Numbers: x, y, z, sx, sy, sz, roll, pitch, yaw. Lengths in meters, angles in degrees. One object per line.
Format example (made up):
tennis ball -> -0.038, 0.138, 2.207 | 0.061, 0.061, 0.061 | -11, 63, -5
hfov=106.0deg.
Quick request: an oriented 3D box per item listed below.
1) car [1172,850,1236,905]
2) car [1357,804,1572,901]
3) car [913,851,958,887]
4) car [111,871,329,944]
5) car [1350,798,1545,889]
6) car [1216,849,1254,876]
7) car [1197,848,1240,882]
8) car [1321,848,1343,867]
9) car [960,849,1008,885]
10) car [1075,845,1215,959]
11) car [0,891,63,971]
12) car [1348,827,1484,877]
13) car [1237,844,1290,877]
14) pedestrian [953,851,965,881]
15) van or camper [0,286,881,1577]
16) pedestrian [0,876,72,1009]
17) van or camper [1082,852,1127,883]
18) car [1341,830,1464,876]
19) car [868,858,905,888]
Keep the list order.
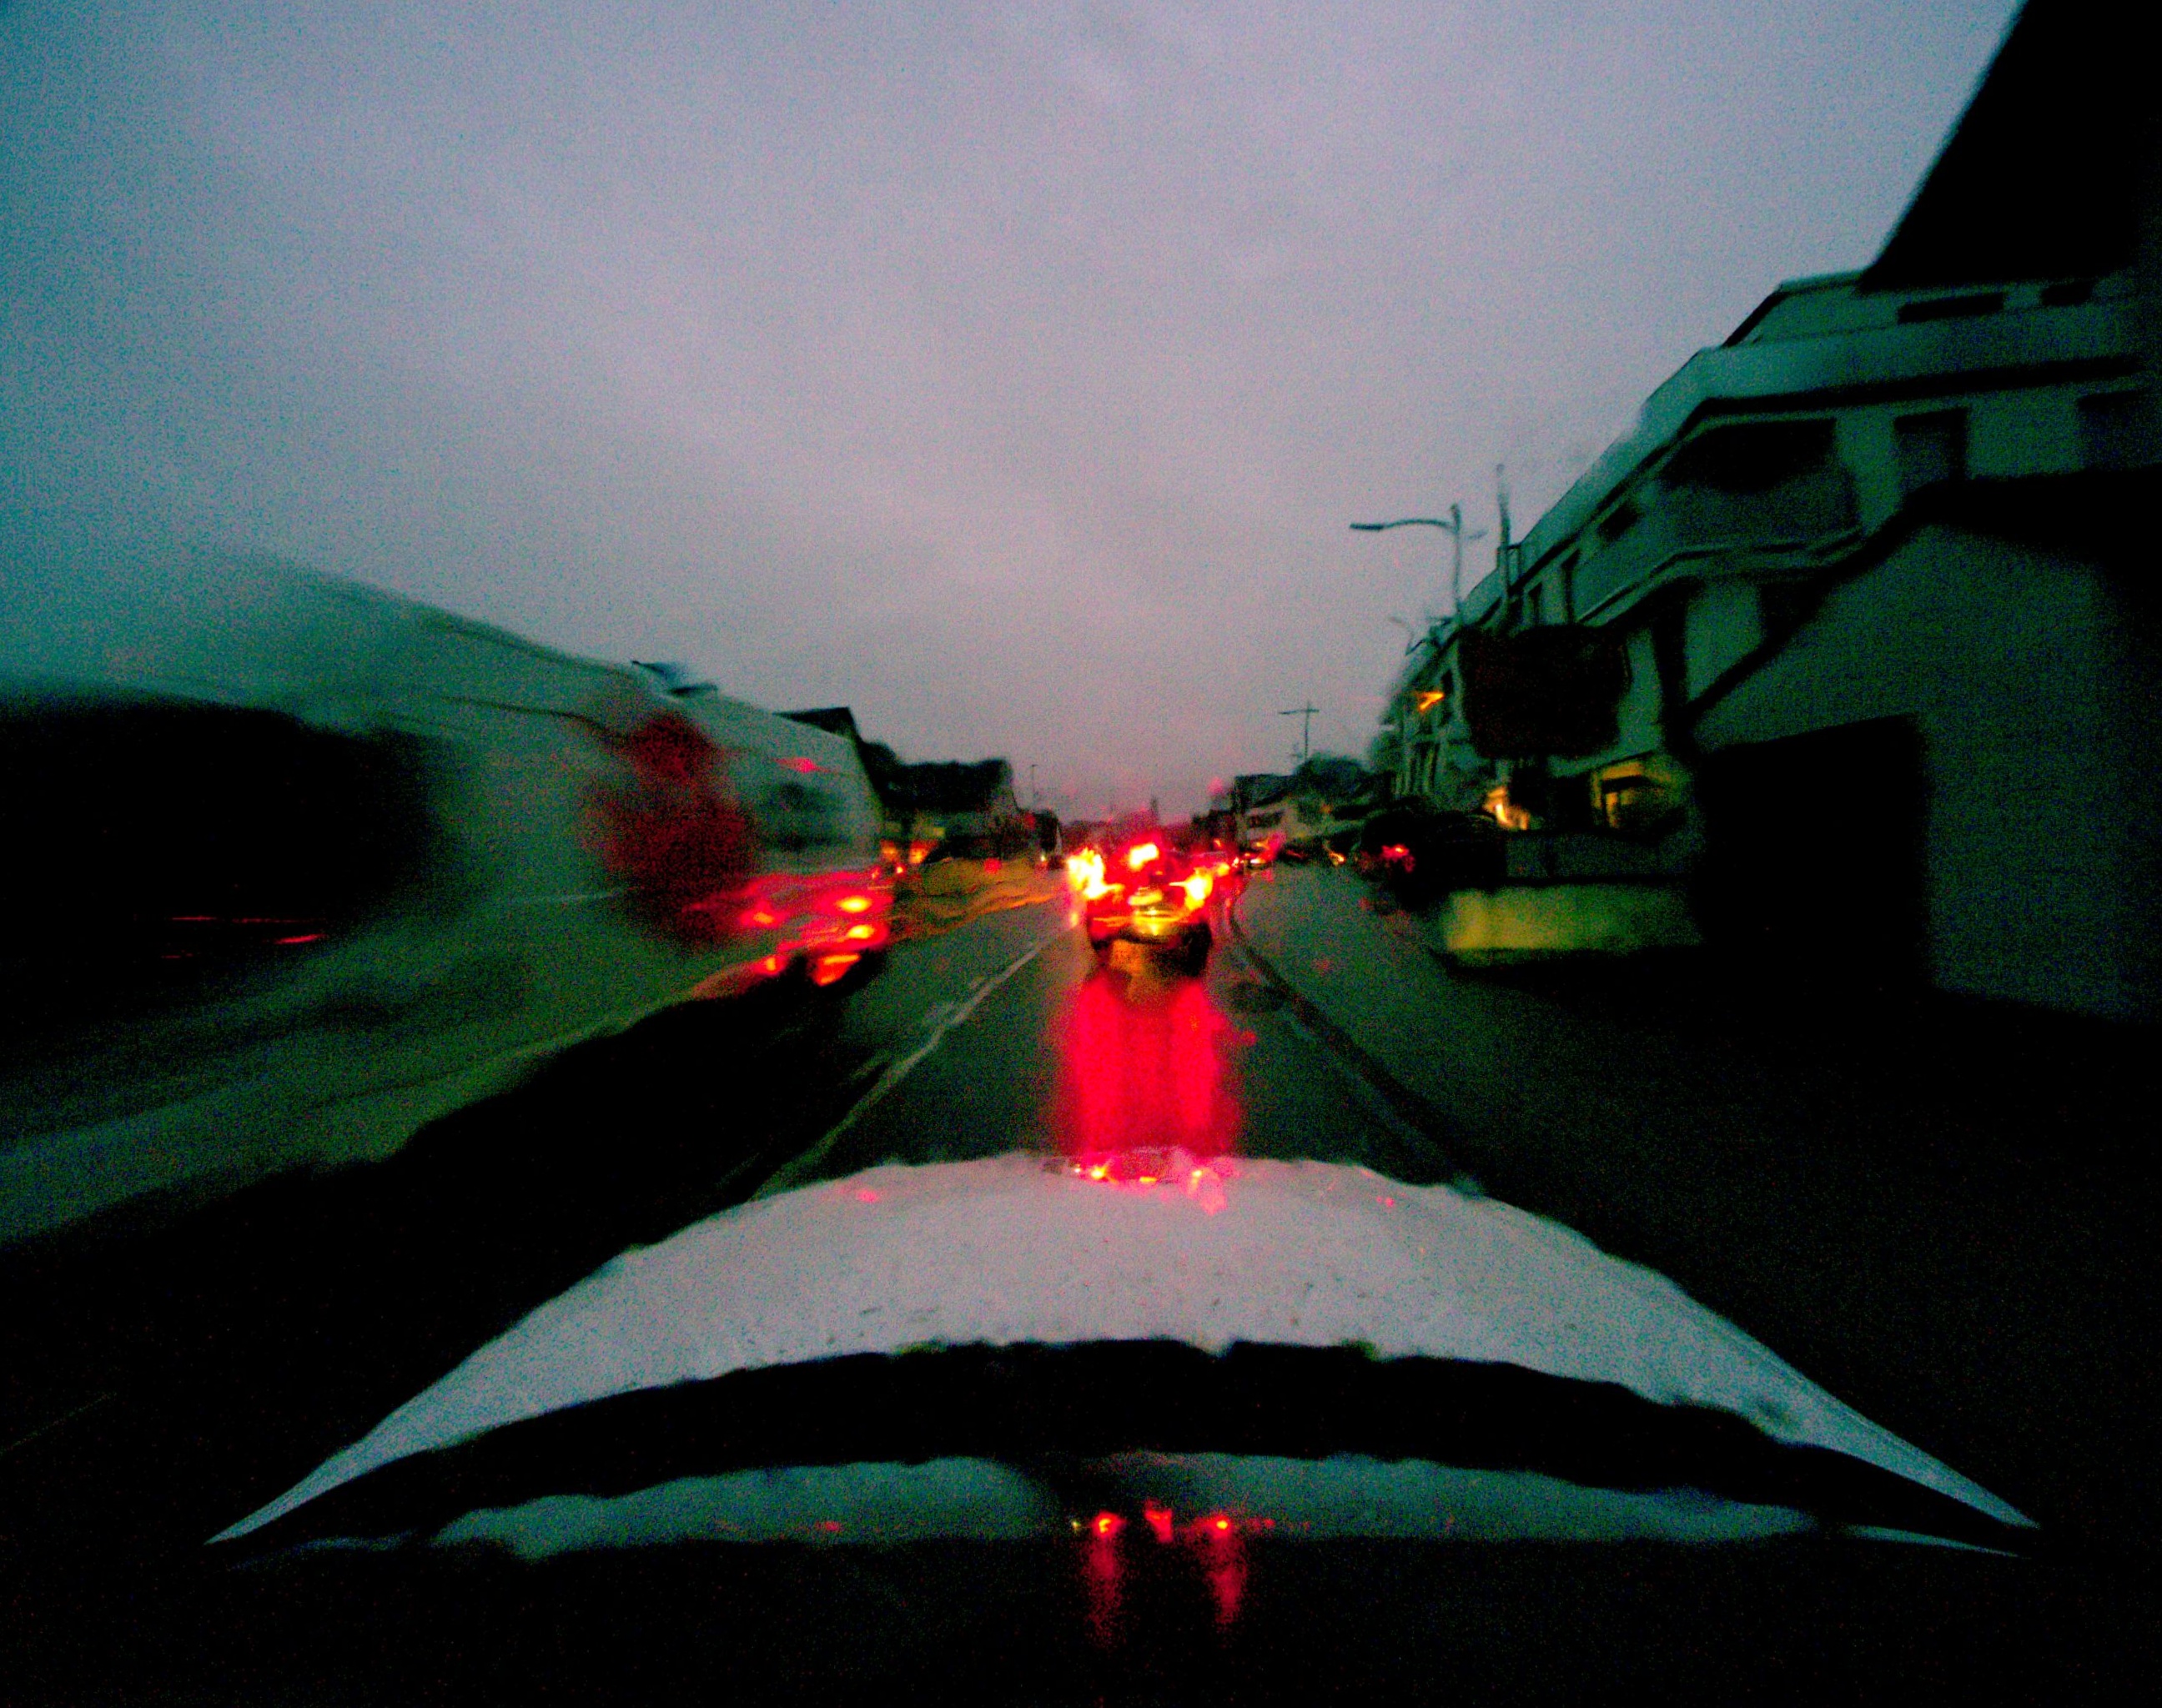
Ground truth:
car -> 3.800, 0.648, 24.717 | 1.672, 1.453, 4.012 | -4, 0, 11
car -> 9.097, -0.029, 19.585 | 4.160, 1.639, 1.805 | -8, 0, 2
car -> -8.400, 0.827, 46.792 | 2.042, 1.925, 4.034 | -2, 0, -17
car -> -23.614, 1.440, 22.444 | 3.972, 1.694, 1.865 | -3, 0, 2
car -> 10.248, -0.254, 23.134 | 4.536, 1.920, 1.954 | -7, -2, 9
car -> 8.618, 0.464, 45.780 | 1.981, 1.391, 4.011 | -2, 0, 10
car -> 6.193, 0.459, 36.877 | 1.804, 1.412, 4.010 | 0, 1, 9
car -> 21.914, 0.284, 71.030 | 1.552, 1.413, 3.620 | -6, -1, 20
car -> -5.685, 0.745, 47.391 | 2.042, 1.925, 4.034 | -2, 0, -17
car -> 1.158, 0.657, 13.645 | 1.954, 1.594, 4.322 | 0, 0, 7
car -> -20.557, 1.435, 14.065 | 1.475, 1.427, 3.463 | -2, -1, 4
car -> 12.167, -0.070, 29.790 | 4.186, 1.460, 1.795 | -5, -1, 4
car -> 12.828, 0.419, 56.990 | 2.137, 1.991, 4.528 | -5, -1, 30
pedestrian -> -6.991, 0.703, 46.769 | 0.497, 1.701, 0.709 | -3, 0, -17
van or camper -> -3.197, 0.170, 4.220 | 2.231, 2.669, 6.561 | -2, 0, 3
pedestrian -> -14.078, 1.153, 10.830 | 0.660, 1.697, 0.542 | -1, 0, 6
van or camper -> 1.178, 0.612, 38.927 | 1.552, 1.355, 3.432 | -3, 0, 11
car -> 12.887, -0.032, 32.844 | 4.186, 1.460, 1.795 | -5, -1, 4
car -> -11.284, 1.053, 47.088 | 1.826, 1.613, 4.034 | -2, 0, -17
